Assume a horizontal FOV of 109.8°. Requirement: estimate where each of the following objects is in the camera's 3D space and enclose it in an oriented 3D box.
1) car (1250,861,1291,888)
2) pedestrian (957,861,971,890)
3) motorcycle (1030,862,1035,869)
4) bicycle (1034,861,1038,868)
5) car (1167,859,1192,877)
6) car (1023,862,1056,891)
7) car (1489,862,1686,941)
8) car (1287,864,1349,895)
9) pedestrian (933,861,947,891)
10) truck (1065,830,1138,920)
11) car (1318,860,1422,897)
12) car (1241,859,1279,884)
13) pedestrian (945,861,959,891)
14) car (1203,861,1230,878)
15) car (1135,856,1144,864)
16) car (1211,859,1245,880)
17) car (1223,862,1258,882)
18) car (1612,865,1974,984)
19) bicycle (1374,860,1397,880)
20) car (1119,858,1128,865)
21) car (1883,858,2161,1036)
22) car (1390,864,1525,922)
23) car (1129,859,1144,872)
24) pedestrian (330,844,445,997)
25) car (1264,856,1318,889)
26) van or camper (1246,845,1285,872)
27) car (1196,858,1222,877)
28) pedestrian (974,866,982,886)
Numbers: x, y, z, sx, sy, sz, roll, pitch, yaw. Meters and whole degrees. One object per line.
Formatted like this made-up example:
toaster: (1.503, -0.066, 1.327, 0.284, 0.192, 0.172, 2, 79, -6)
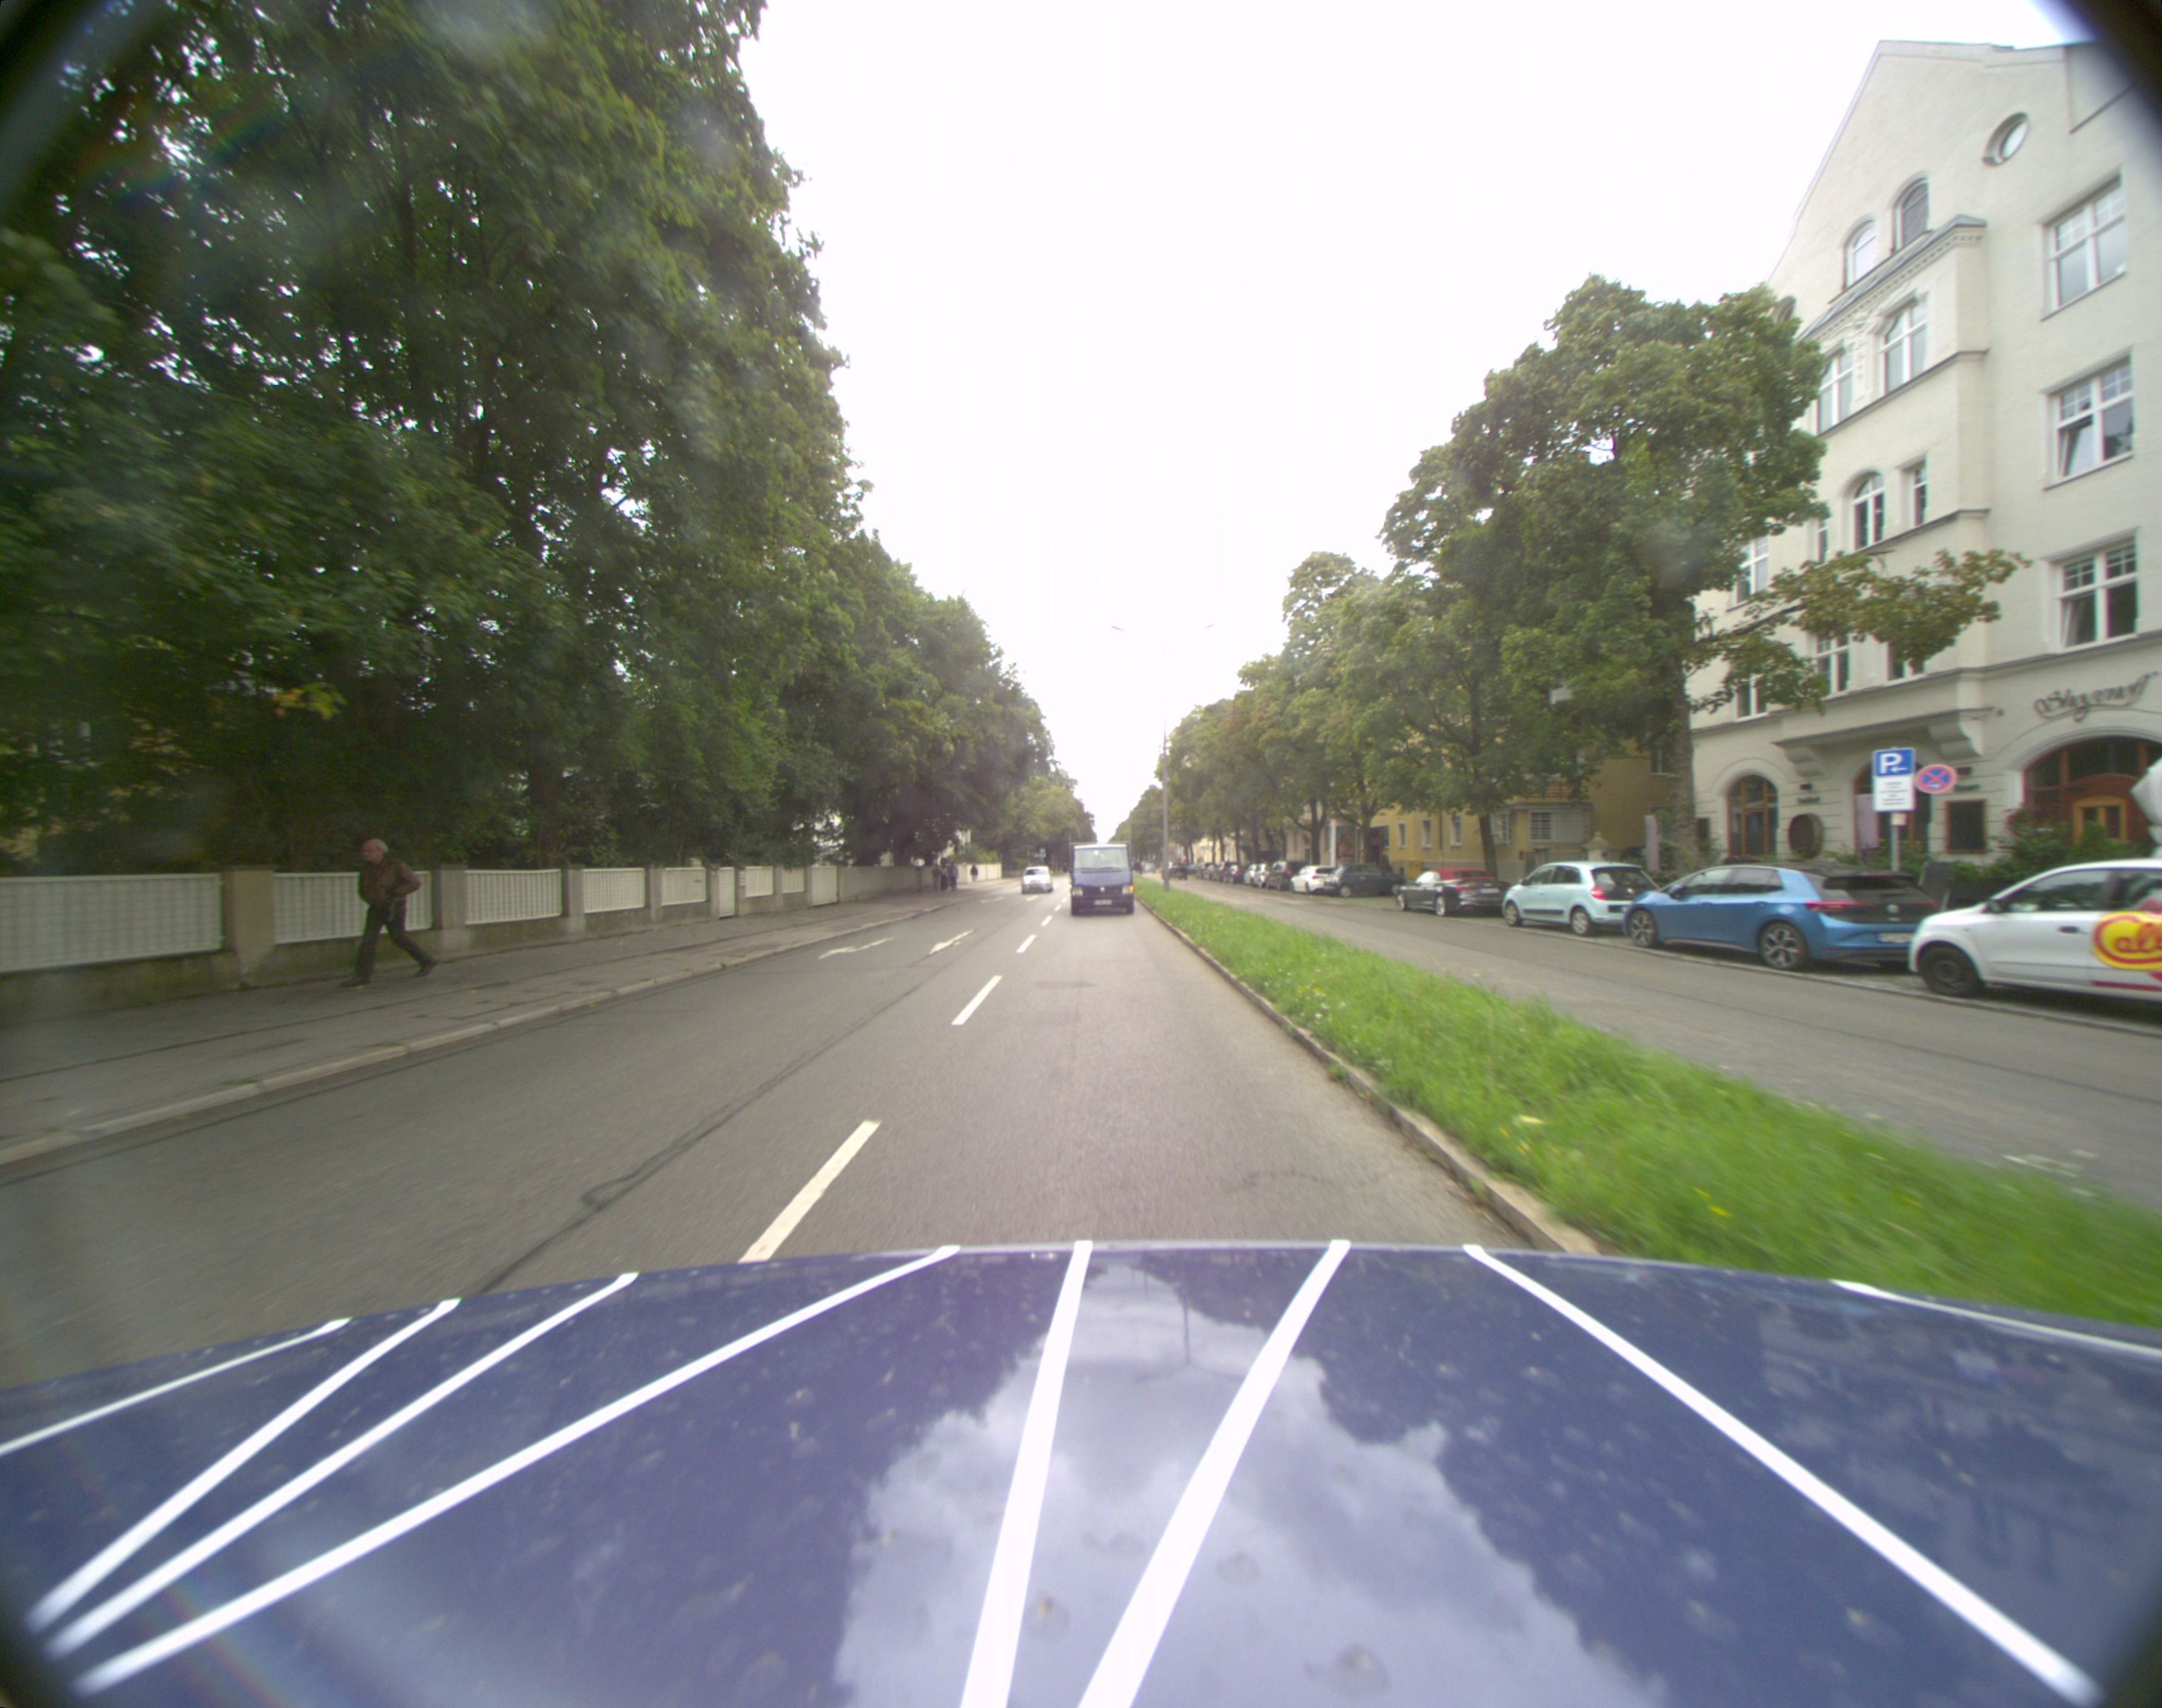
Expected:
car: (11.737, 1.234, 47.142, 1.731, 1.548, 3.010, -1, 0, -1)
pedestrian: (-6.856, 1.259, 44.604, 0.668, 1.712, 0.729, 1, 0, 0)
motorcycle: (-7.292, 1.724, 114.006, 0.497, 1.135, 1.632, -1, 0, -9)
bicycle: (-7.184, 1.680, 121.535, 0.490, 1.092, 1.632, -1, 0, -9)
car: (9.017, 1.282, 69.735, 1.879, 1.575, 4.621, 1, 0, 3)
car: (-2.315, 1.251, 43.385, 1.647, 1.553, 3.586, -1, 0, 1)
car: (11.042, 0.958, 16.957, 1.815, 1.498, 3.961, -1, 0, 1)
car: (11.464, 1.198, 36.986, 1.731, 1.394, 4.404, -1, 0, 1)
pedestrian: (-8.281, 1.278, 44.707, 0.668, 1.695, 0.766, 1, 0, 0)
truck: (0.653, 0.607, 23.699, 1.998, 2.475, 5.152, -1, 0, 2)
car: (12.691, 1.050, 33.521, 3.899, 1.455, 1.732, -2, 0, 0)
car: (12.090, 1.153, 51.529, 1.731, 1.552, 4.057, -1, 0, 1)
pedestrian: (-7.552, 1.284, 44.616, 0.668, 1.683, 0.729, 1, 0, 0)
car: (12.058, 1.345, 67.906, 1.696, 1.446, 4.493, -1, 0, 1)
car: (14.075, 1.460, 184.042, 1.872, 1.827, 4.000, -1, 0, 1)
car: (11.942, 1.225, 62.033, 1.883, 1.635, 4.771, -1, 0, 1)
car: (11.748, 1.287, 56.251, 1.731, 1.397, 4.363, -1, 0, 1)
car: (10.851, 0.960, 12.128, 1.815, 1.498, 4.291, -1, 0, 1)
bicycle: (20.026, 1.040, 49.955, 0.771, 1.215, 1.931, -1, 0, 1)
car: (9.450, 1.570, 168.724, 1.815, 1.498, 4.324, 1, 0, 1)
car: (10.620, 0.841, 7.435, 1.653, 1.575, 3.791, -1, 0, 3)
car: (11.068, 1.081, 22.754, 1.815, 1.498, 4.646, -1, 0, 1)
car: (7.446, 1.483, 101.400, 1.774, 1.669, 4.369, 1, 0, 1)
pedestrian: (-9.126, 0.843, 10.031, 0.779, 1.931, 0.802, 0, 0, 2)
car: (11.680, 1.017, 42.641, 1.815, 1.717, 4.768, -1, 0, 1)
van or camper: (18.350, 0.429, 75.905, 2.351, 2.564, 6.852, -1, 0, 1)
car: (12.254, 1.274, 73.091, 1.878, 1.677, 4.439, -1, 0, 1)
pedestrian: (-8.156, 1.763, 60.168, 0.529, 1.572, 0.729, 1, 0, 0)
